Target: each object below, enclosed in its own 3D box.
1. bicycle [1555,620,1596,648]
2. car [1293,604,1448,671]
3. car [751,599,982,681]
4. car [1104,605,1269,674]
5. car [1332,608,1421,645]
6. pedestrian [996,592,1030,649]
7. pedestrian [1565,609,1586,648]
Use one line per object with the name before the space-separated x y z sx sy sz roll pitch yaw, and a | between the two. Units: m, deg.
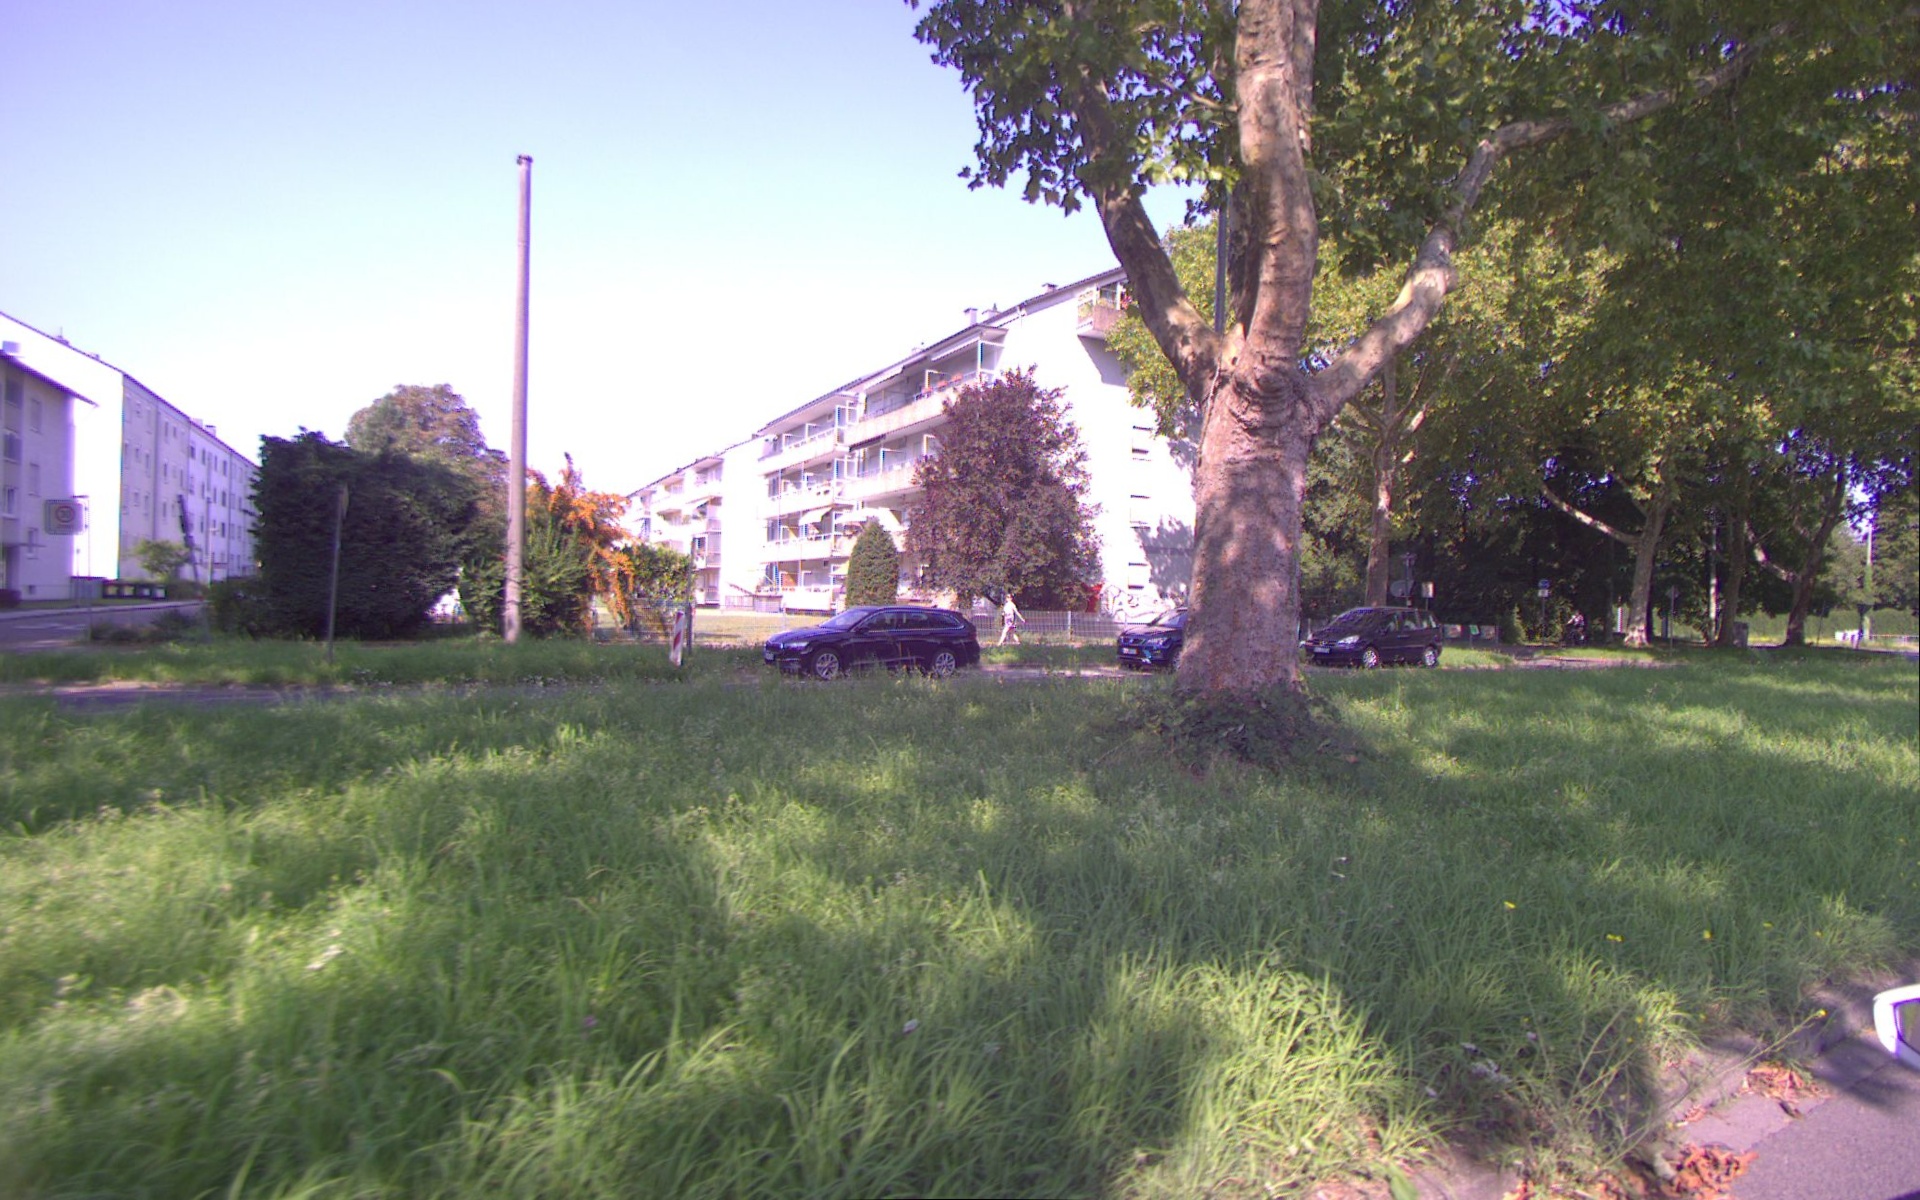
bicycle | 28.046 1.563 45.749 2.733 1.215 0.540 2 1 -35
car | 11.906 1.075 29.045 4.605 1.755 1.691 2 0 -31
car | -1.886 0.797 20.793 4.488 1.528 1.691 1 0 -31
car | 5.677 0.966 25.084 3.954 1.588 1.691 1 0 -31
car | 21.051 1.343 50.773 4.330 1.749 1.691 2 0 -26
pedestrian | 1.570 0.603 29.868 0.727 1.667 0.643 1 1 -32
pedestrian | 28.009 1.296 45.716 0.651 1.713 0.539 1 1 -34
